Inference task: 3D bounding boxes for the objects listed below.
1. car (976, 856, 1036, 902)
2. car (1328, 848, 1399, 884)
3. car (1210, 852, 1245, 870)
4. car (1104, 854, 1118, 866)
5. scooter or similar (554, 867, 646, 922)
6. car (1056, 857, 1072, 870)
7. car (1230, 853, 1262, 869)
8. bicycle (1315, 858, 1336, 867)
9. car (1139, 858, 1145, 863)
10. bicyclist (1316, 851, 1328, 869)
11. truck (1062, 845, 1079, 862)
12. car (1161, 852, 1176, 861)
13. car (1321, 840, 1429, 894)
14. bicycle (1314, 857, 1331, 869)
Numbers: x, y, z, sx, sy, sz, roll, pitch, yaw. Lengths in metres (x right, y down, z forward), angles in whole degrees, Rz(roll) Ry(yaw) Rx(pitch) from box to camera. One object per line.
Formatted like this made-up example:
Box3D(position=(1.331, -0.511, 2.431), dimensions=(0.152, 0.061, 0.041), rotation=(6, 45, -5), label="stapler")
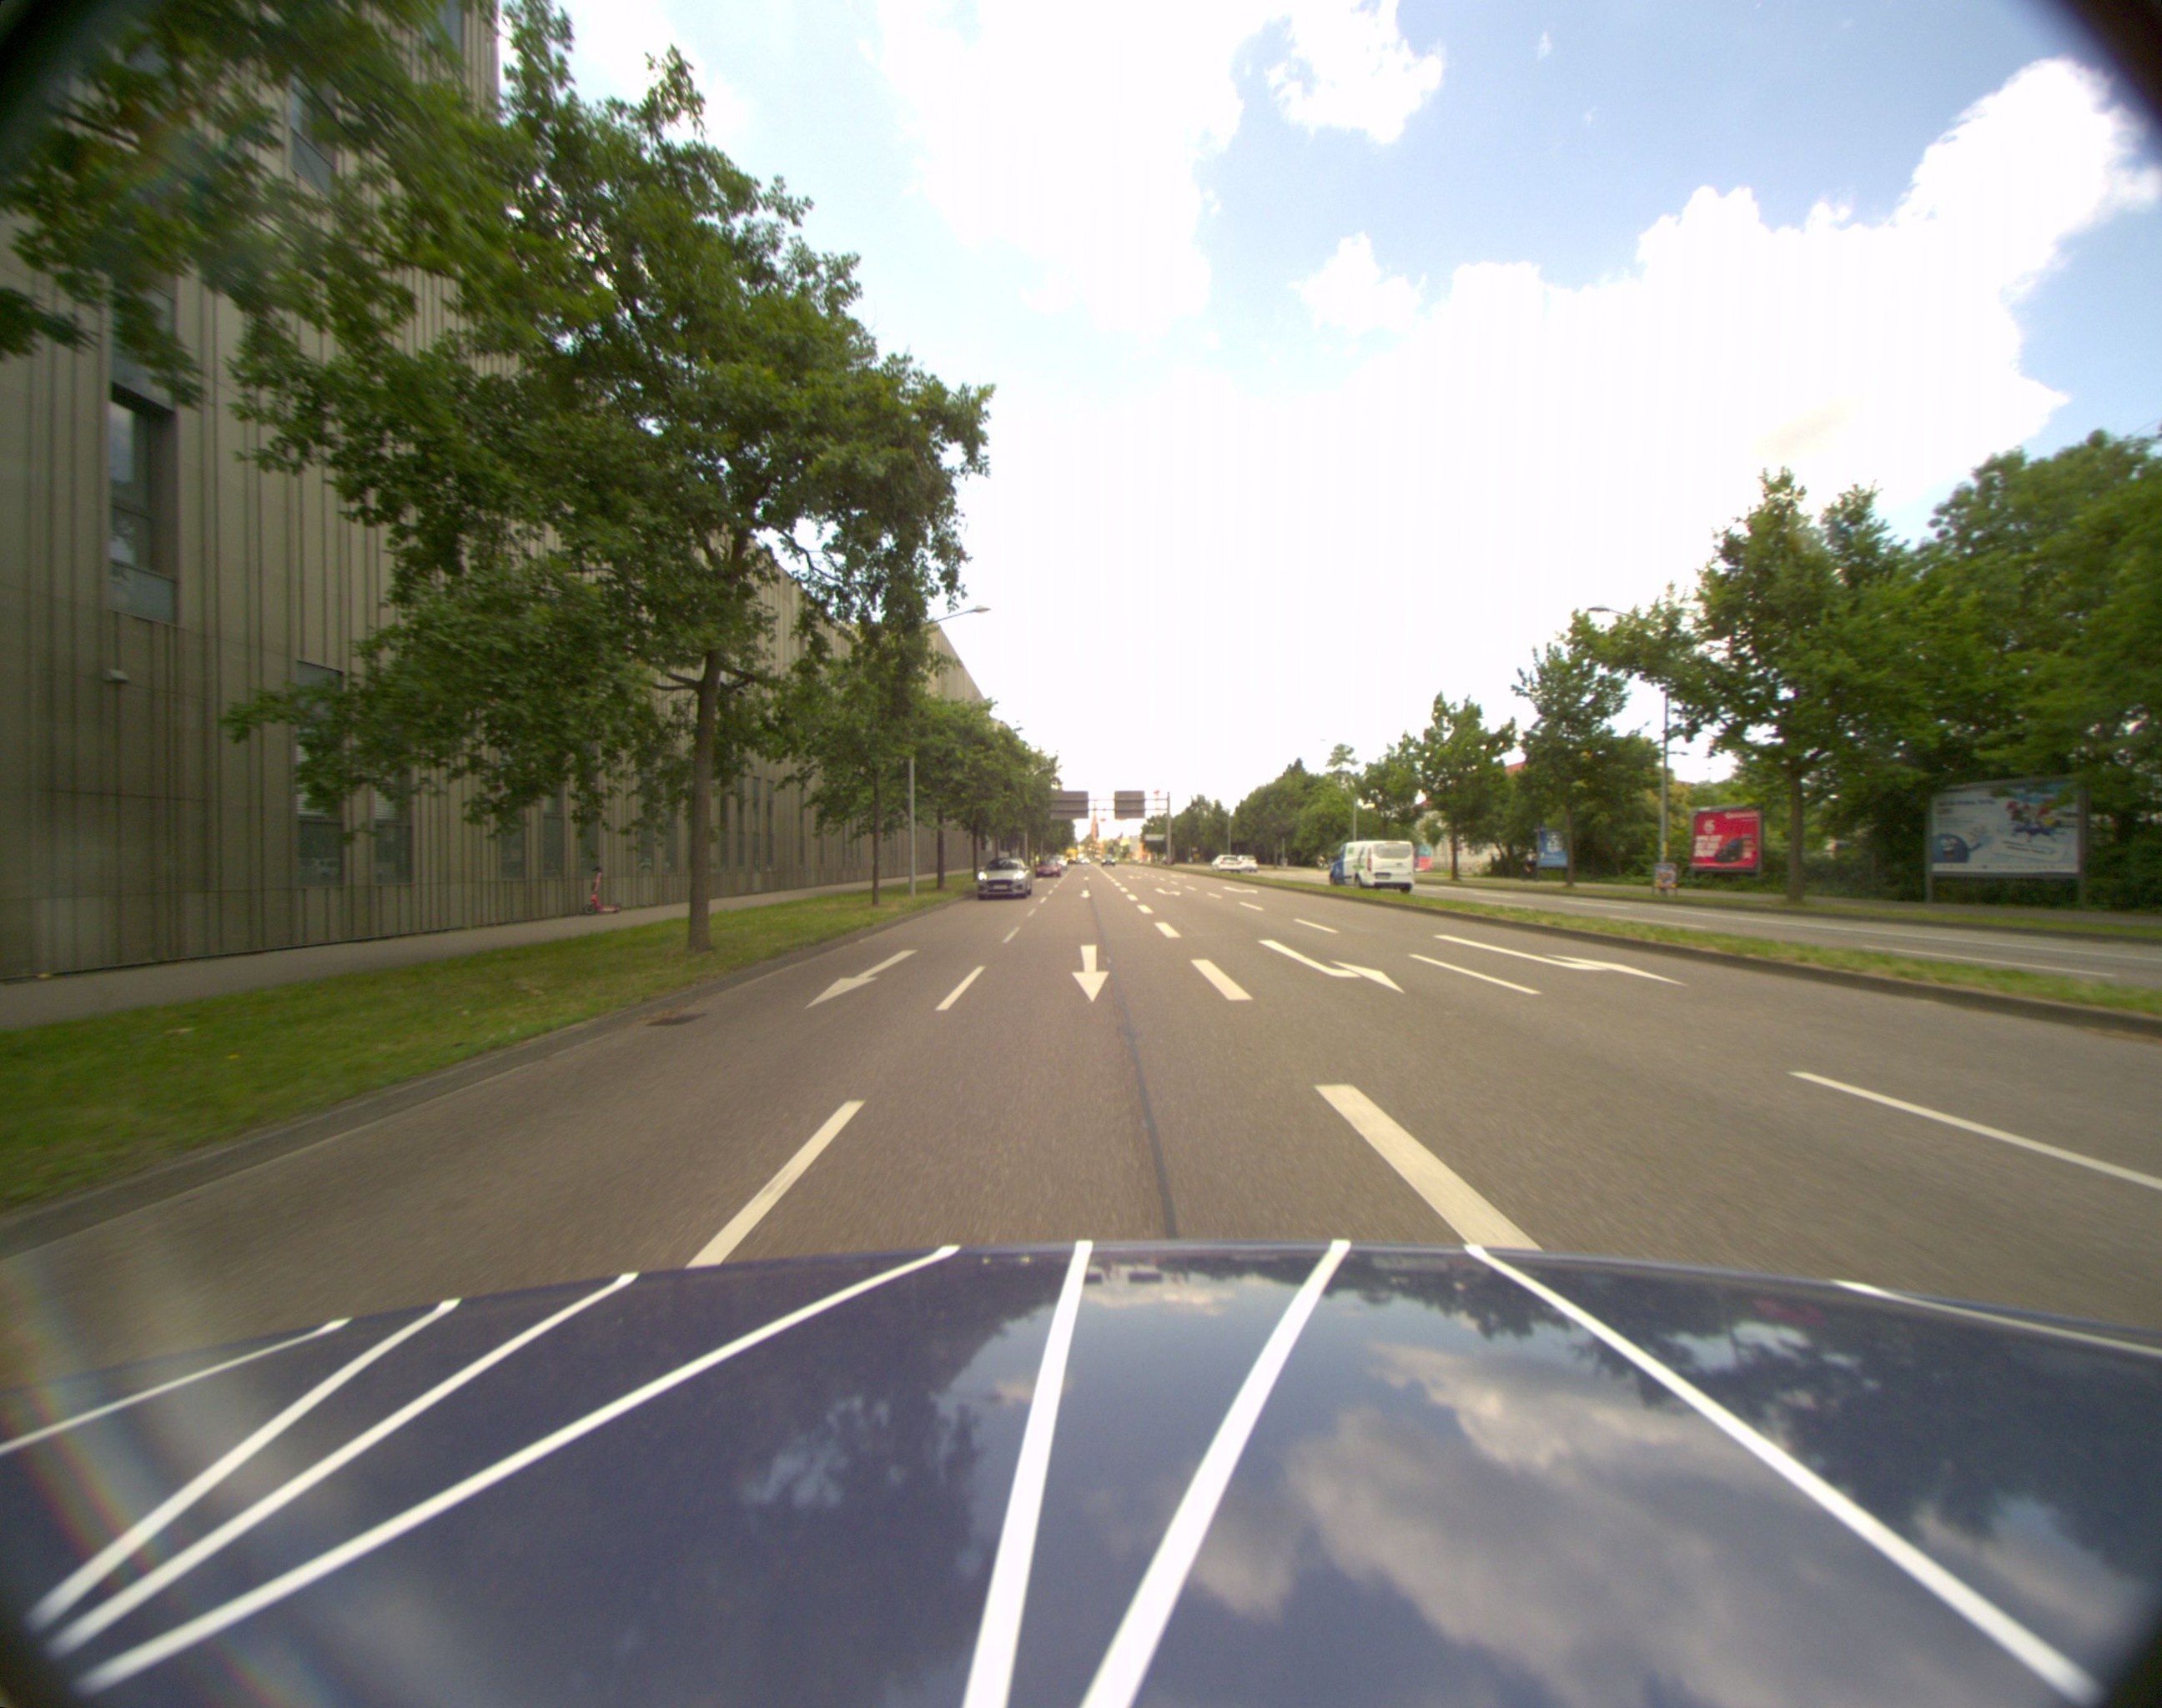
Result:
Box3D(position=(-2.776, 0.902, 29.076), dimensions=(1.823, 1.565, 3.954), rotation=(-2, 0, 0), label="car")
Box3D(position=(14.967, 0.619, 40.487), dimensions=(1.999, 1.791, 4.408), rotation=(0, 0, -2), label="car")
Box3D(position=(12.036, 0.534, 62.832), dimensions=(1.998, 1.423, 5.024), rotation=(0, 0, 1), label="car")
Box3D(position=(4.013, 0.813, 102.672), dimensions=(1.782, 1.487, 3.598), rotation=(0, 0, 0), label="car")
Box3D(position=(-12.004, 0.966, 19.090), dimensions=(0.706, 1.239, 2.479), rotation=(1, 0, 1), label="scooter or similar")
Box3D(position=(-1.861, 1.027, 83.876), dimensions=(1.713, 1.487, 3.650), rotation=(0, 0, 0), label="car")
Box3D(position=(15.204, 0.626, 70.382), dimensions=(1.919, 1.434, 4.414), rotation=(2, 0, 0), label="car")
Box3D(position=(26.657, 0.930, 82.926), dimensions=(0.665, 1.009, 2.143), rotation=(0, 1, -45), label="bicycle")
Box3D(position=(18.943, 2.018, 236.653), dimensions=(1.713, 1.487, 3.698), rotation=(0, 0, 1), label="car")
Box3D(position=(22.909, 0.583, 72.231), dimensions=(0.740, 1.648, 0.980), rotation=(0, 0, -4), label="bicyclist")
Box3D(position=(-1.996, -0.072, 144.351), dimensions=(3.066, 3.095, 7.935), rotation=(0, 0, 0), label="truck")
Box3D(position=(14.423, 0.421, 125.179), dimensions=(1.964, 1.508, 4.909), rotation=(0, 0, 0), label="car")
Box3D(position=(11.477, 0.469, 30.115), dimensions=(2.196, 1.952, 5.193), rotation=(0, 0, -1), label="car")
Box3D(position=(22.910, 0.827, 72.079), dimensions=(0.752, 1.155, 2.257), rotation=(0, 0, -4), label="bicycle")
